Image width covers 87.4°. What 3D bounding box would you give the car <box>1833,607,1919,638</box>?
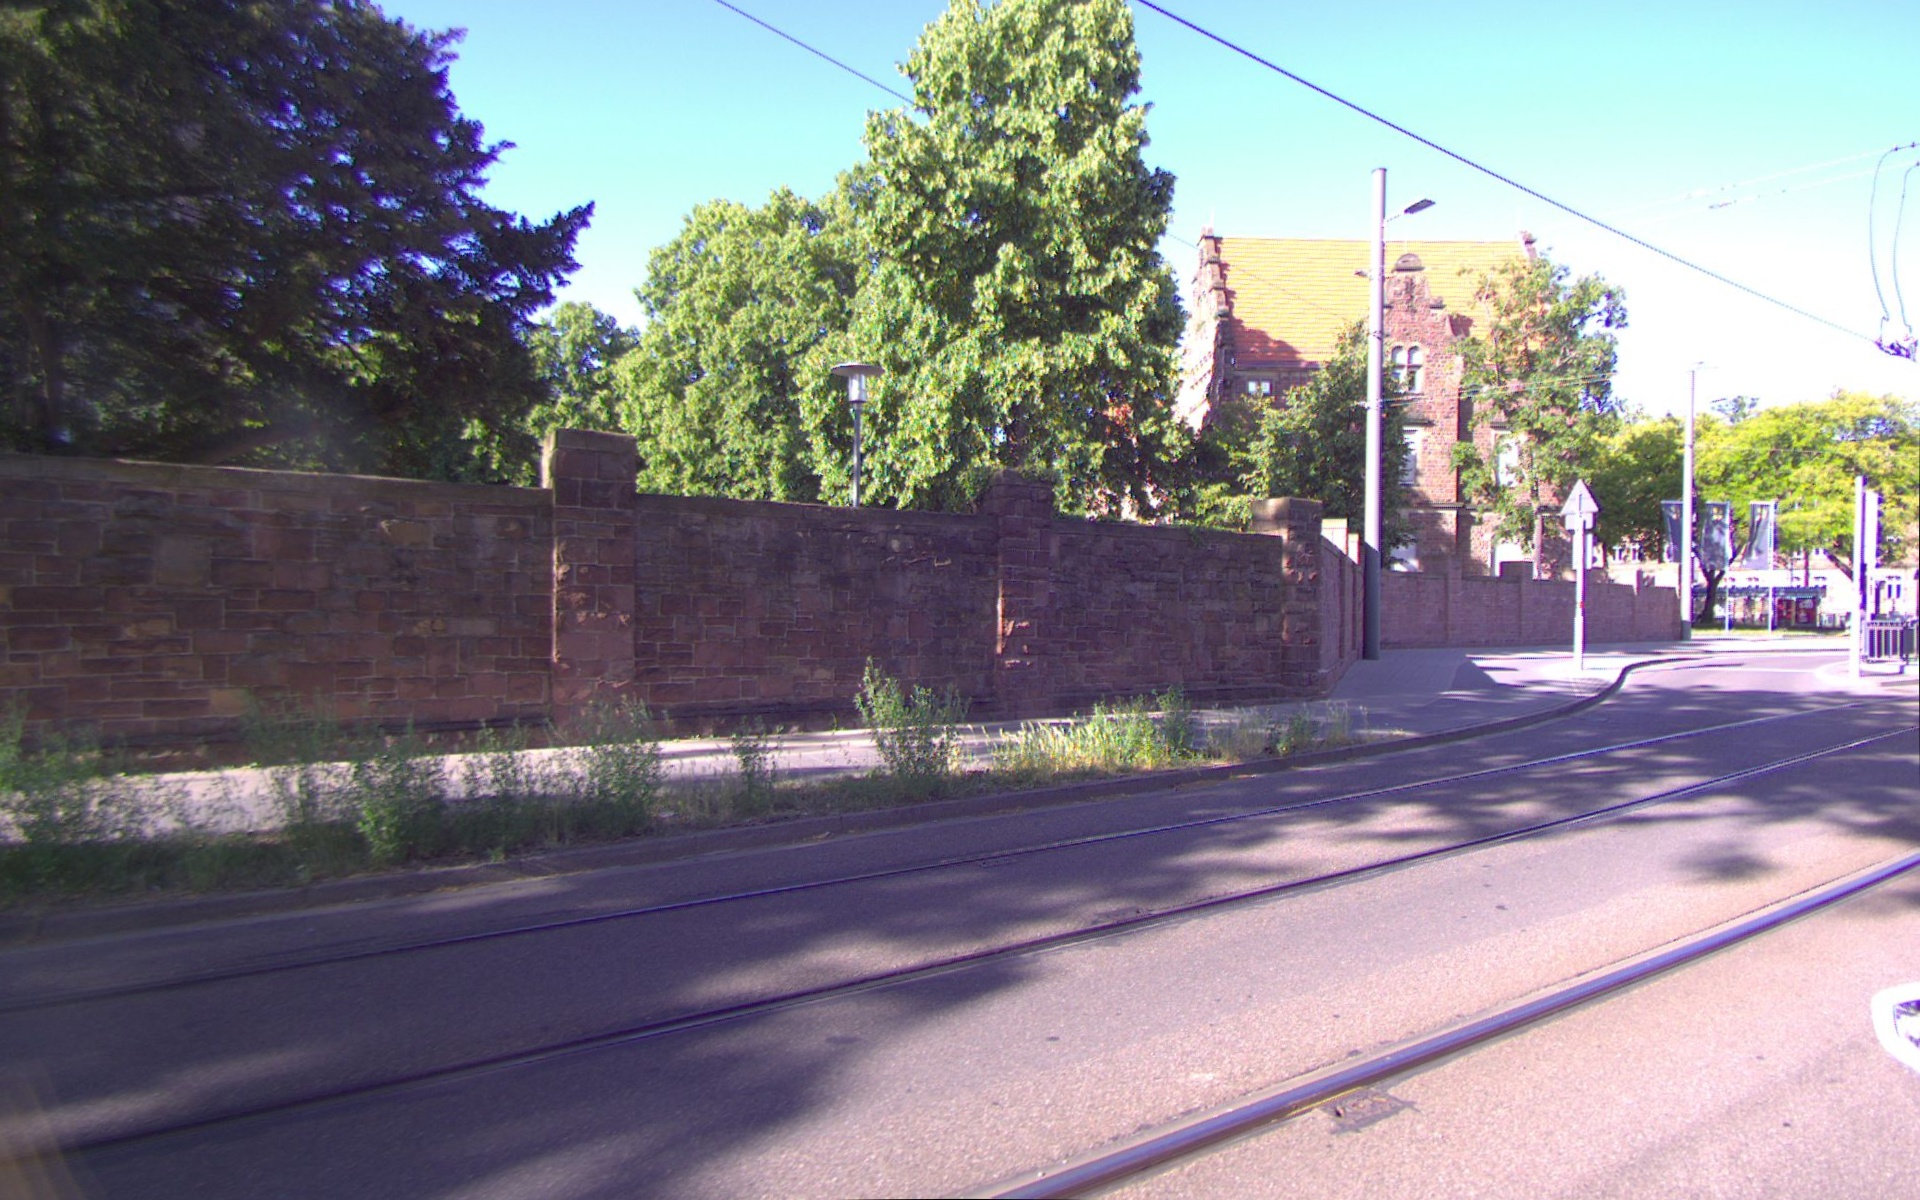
[{"bbox_3d":[58.036,1.385,63.443,1.979,1.813,3.962,1,0,-34],"label":"car"}]
